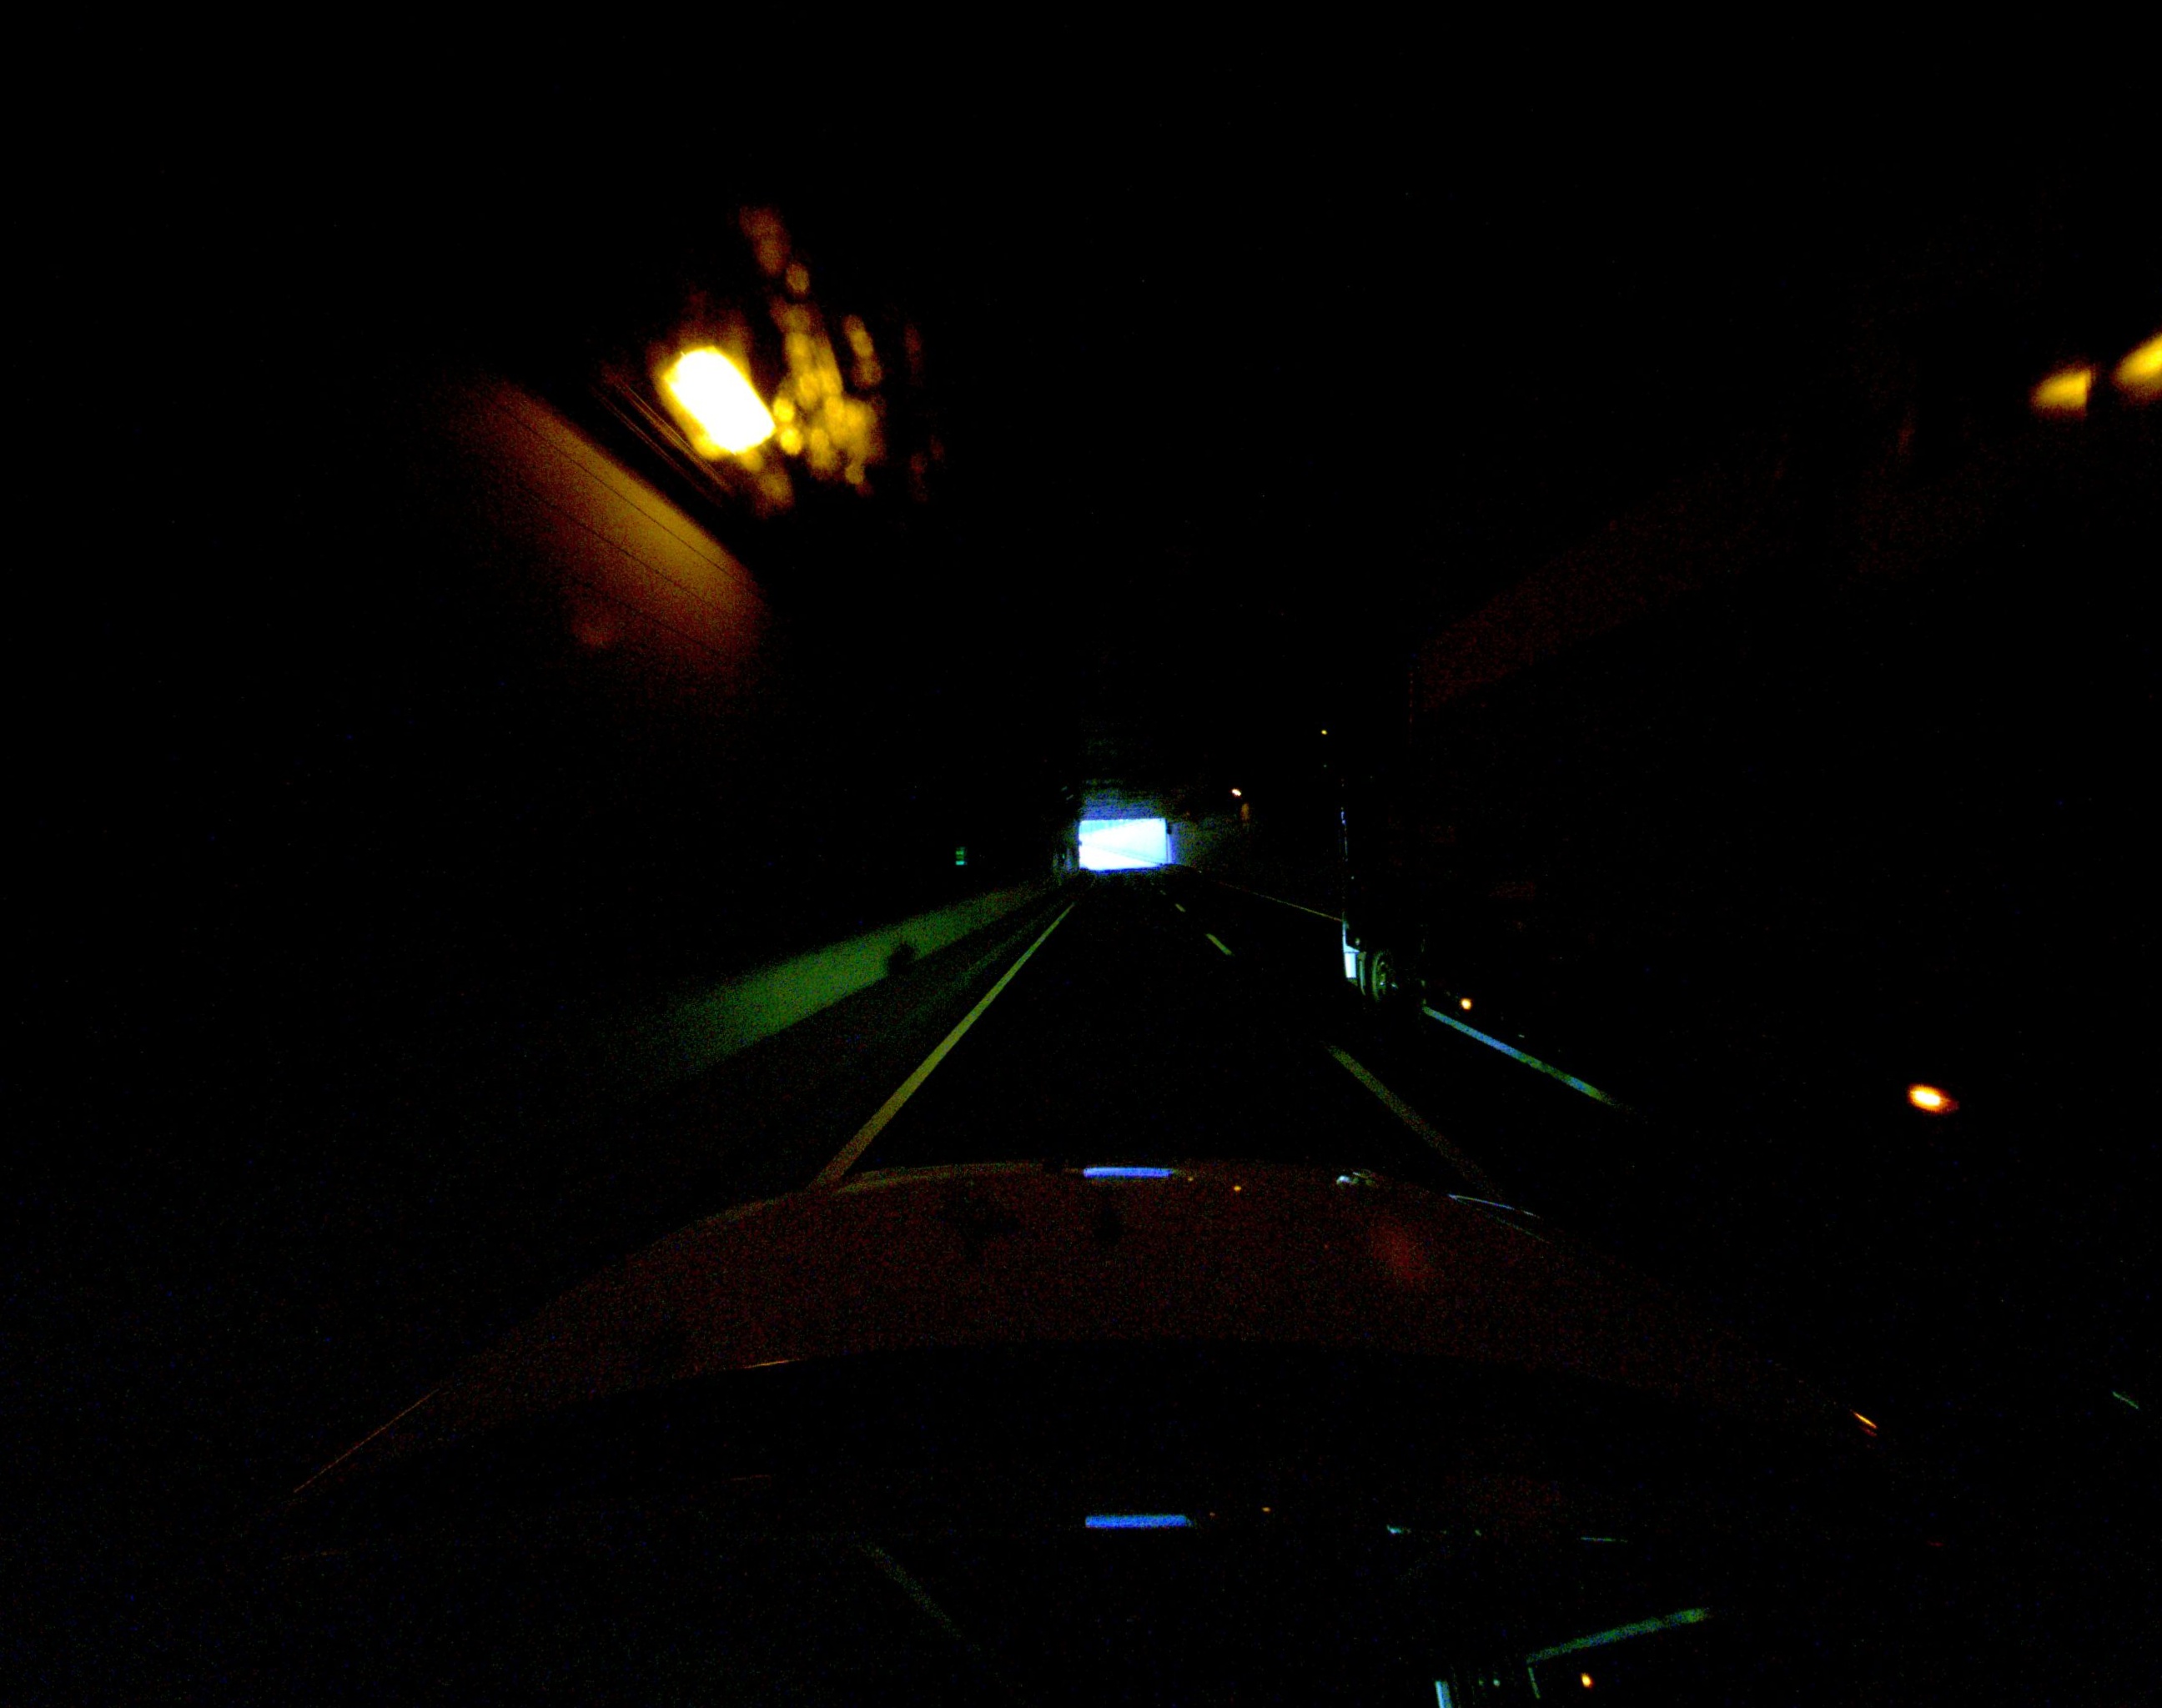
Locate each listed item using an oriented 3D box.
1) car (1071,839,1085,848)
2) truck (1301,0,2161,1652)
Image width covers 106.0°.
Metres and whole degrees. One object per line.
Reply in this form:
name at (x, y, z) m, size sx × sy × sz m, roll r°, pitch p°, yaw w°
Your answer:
car at (-0.583, -2.003, 156.193) m, size 1.872 × 1.732 × 3.981 m, roll -2°, pitch -1°, yaw -13°
truck at (3.437, -0.534, 3.006) m, size 2.877 × 3.913 × 9.915 m, roll -2°, pitch 0°, yaw 2°
